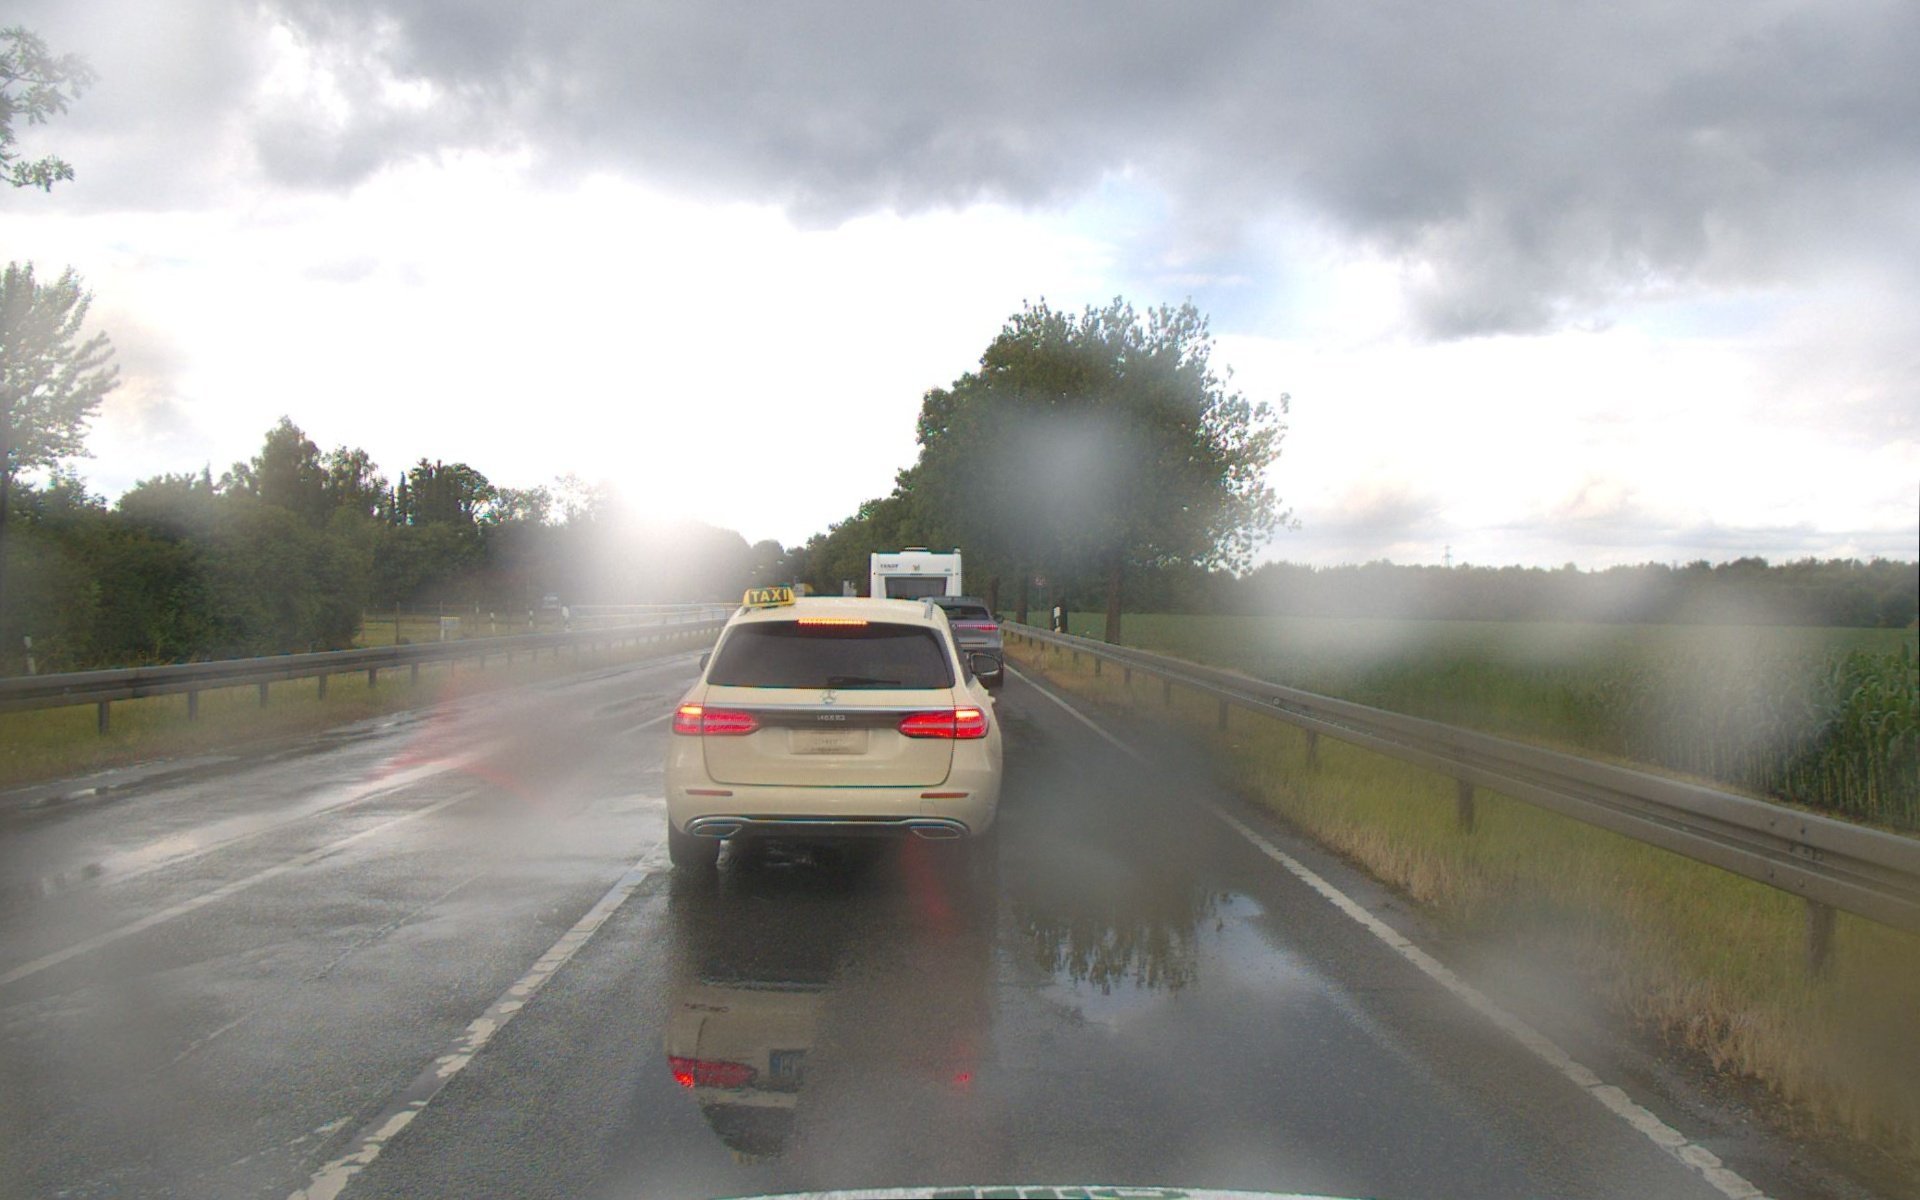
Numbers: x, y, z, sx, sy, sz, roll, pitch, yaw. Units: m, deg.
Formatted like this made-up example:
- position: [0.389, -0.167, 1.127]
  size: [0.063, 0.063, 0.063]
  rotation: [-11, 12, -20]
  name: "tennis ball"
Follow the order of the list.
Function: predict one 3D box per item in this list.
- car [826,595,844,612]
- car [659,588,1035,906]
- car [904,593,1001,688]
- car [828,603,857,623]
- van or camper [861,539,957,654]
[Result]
- position: [-15.535, 0.434, 206.058]
  size: [1.953, 2.087, 4.000]
  rotation: [1, 0, 0]
  name: "car"
- position: [-0.527, 0.701, 9.964]
  size: [1.787, 1.511, 4.145]
  rotation: [0, 0, 0]
  name: "car"
- position: [-0.152, 0.663, 29.223]
  size: [1.594, 1.556, 3.932]
  rotation: [1, 0, -1]
  name: "car"
- position: [-7.958, 0.859, 111.853]
  size: [1.723, 1.291, 3.999]
  rotation: [1, 0, -1]
  name: "car"
- position: [-1.273, -0.108, 42.868]
  size: [2.303, 2.727, 5.767]
  rotation: [1, 0, -1]
  name: "van or camper"
